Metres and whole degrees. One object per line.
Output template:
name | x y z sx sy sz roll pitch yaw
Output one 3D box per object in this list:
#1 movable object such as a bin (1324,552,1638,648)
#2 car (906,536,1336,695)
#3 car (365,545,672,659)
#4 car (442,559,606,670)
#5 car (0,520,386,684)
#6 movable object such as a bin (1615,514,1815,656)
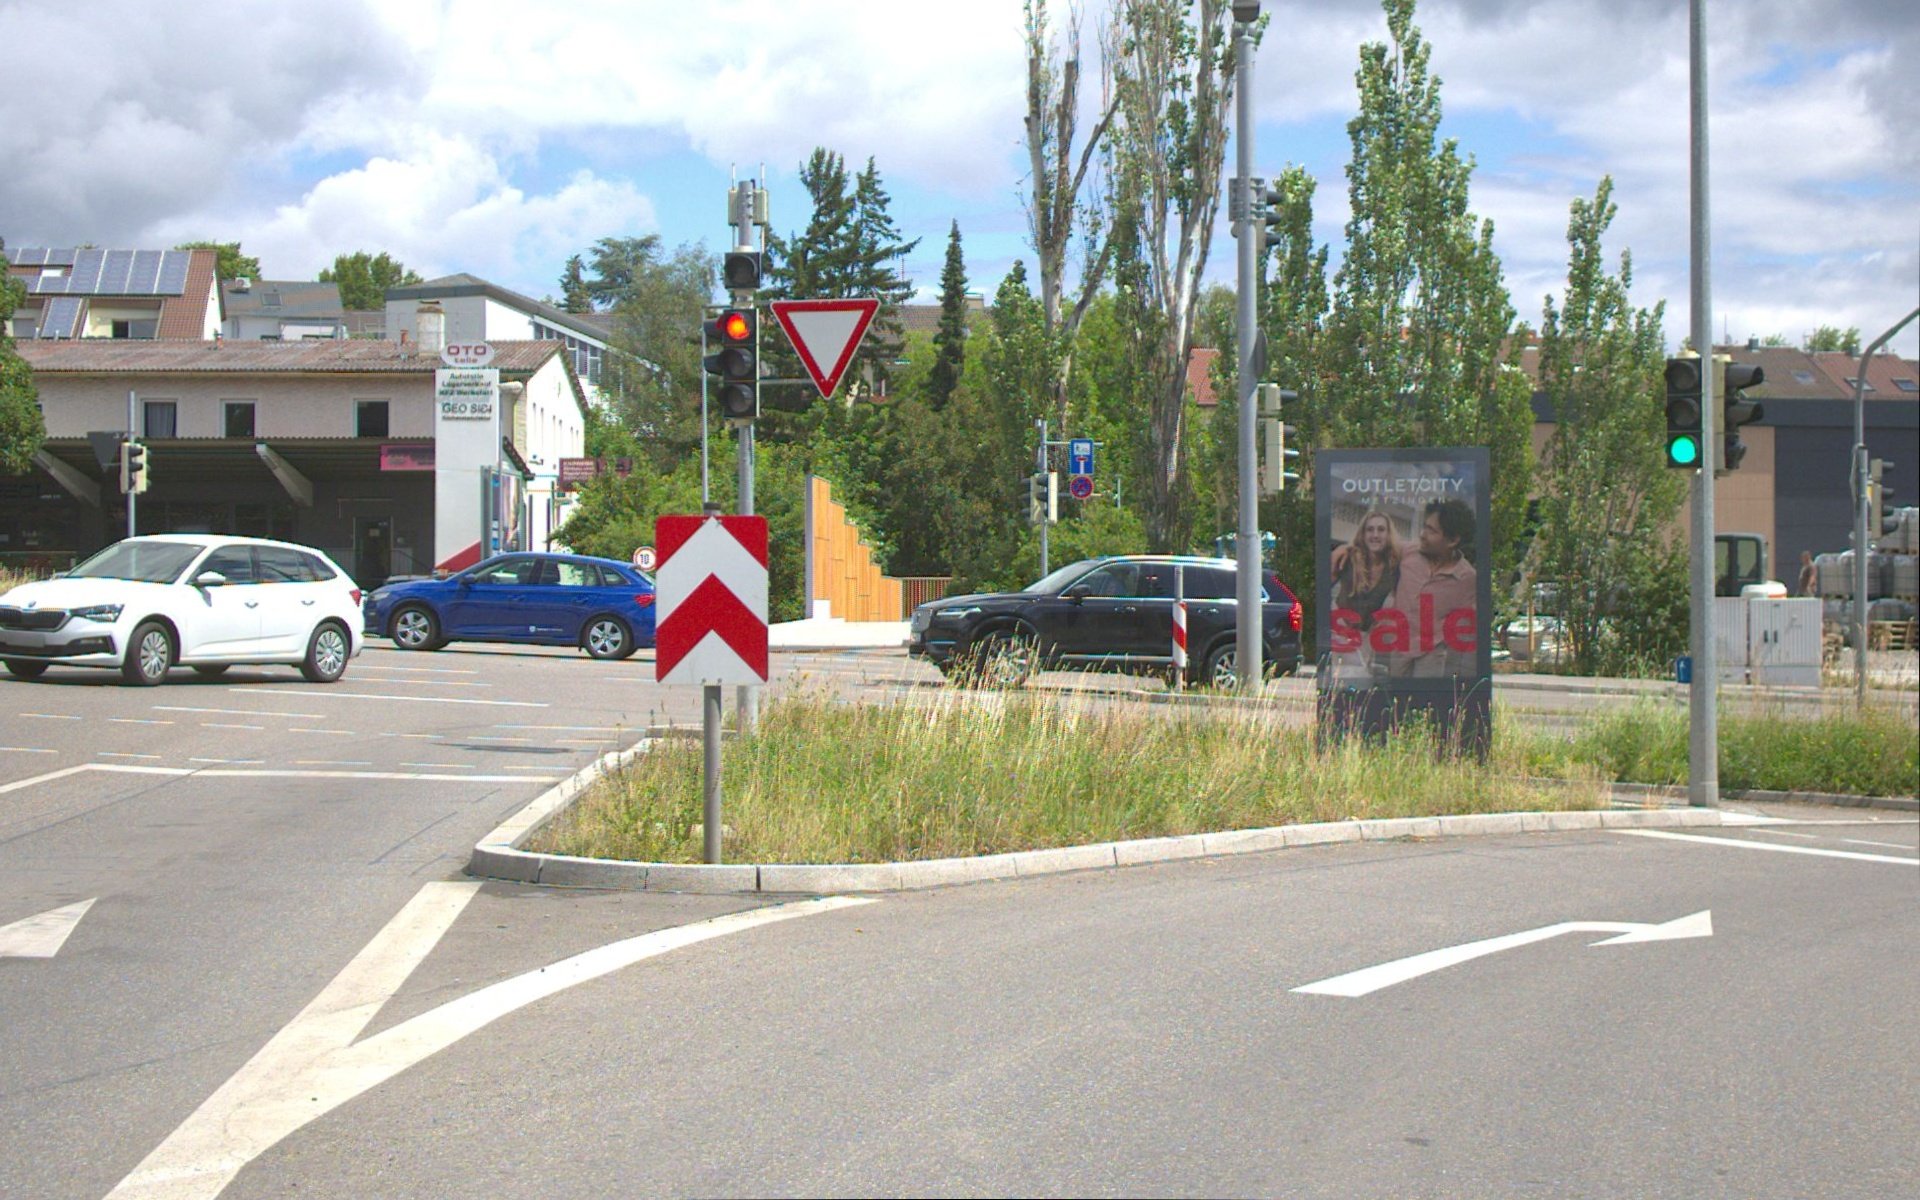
movable object such as a bin | 12.037 -0.008 79.391 6.927 2.007 2.294 -1 0 15
car | 1.992 0.181 43.001 4.964 1.684 1.911 3 1 -12
car | -6.101 0.020 47.783 3.987 1.395 1.697 2 0 1
car | -8.449 0.281 66.407 1.993 2.007 4.001 -2 0 -24
car | -7.772 0.022 34.299 1.619 1.464 4.371 4 1 28
movable object such as a bin | 14.497 -0.282 65.971 3.407 2.529 2.150 3 0 20
